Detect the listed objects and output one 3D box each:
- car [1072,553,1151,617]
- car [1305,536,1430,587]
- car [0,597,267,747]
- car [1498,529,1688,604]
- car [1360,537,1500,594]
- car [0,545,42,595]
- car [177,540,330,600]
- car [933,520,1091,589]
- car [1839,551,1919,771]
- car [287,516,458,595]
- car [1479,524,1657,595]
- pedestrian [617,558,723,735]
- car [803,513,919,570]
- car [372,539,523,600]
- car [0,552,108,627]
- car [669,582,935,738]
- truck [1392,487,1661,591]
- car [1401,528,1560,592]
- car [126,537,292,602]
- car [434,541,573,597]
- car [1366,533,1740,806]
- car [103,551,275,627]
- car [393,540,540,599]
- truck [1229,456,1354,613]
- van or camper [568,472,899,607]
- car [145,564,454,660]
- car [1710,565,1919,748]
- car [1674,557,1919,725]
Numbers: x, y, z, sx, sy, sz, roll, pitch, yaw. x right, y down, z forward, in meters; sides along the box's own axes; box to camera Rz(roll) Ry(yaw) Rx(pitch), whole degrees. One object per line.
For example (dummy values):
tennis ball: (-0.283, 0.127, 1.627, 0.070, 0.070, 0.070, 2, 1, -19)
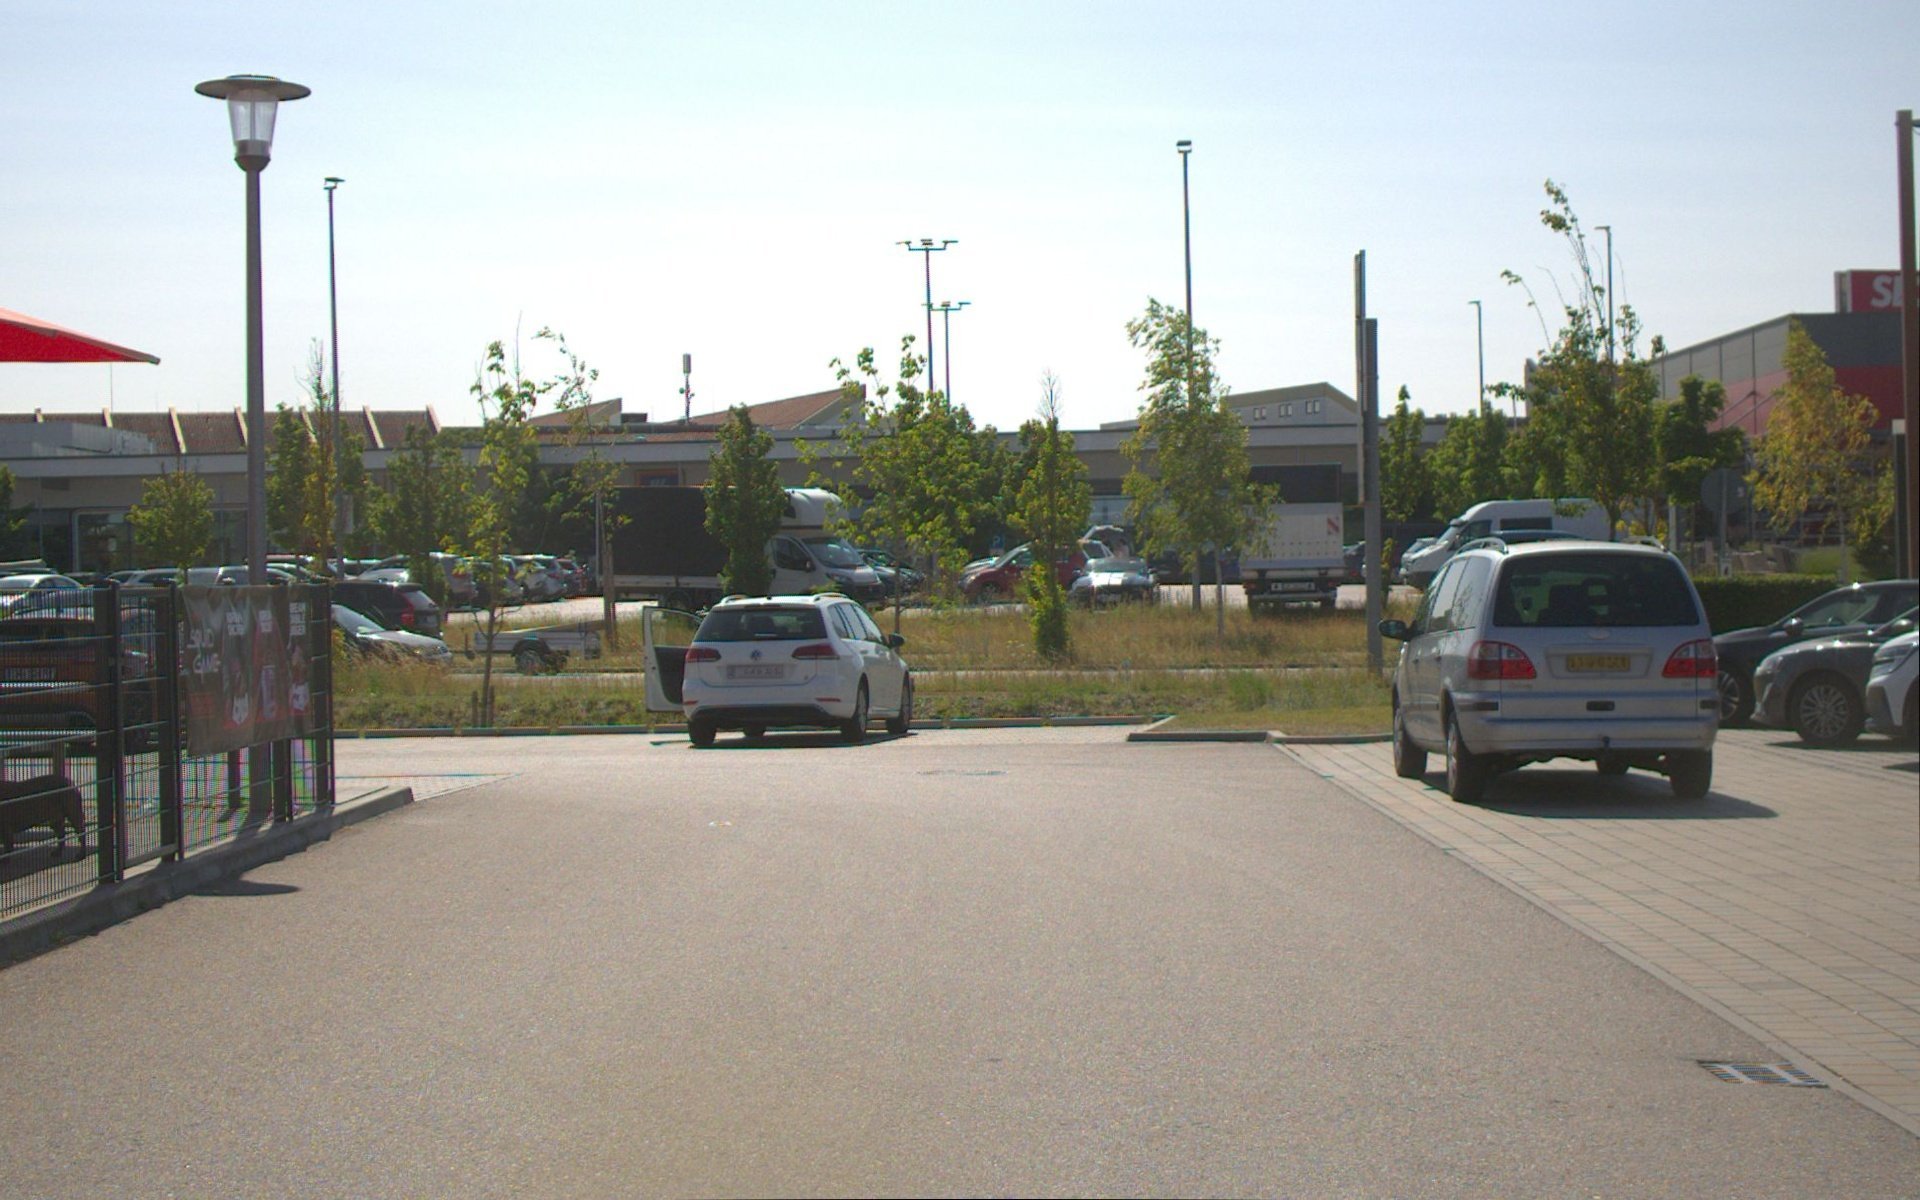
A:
car: (3.568, -0.375, 80.480, 1.650, 1.454, 3.966, 0, 1, 5)
car: (15.092, -1.439, 127.452, 4.390, 1.849, 1.956, 0, 1, 0)
car: (-8.925, 0.738, 36.164, 1.828, 1.464, 4.351, -1, -1, 9)
car: (15.795, -0.836, 85.955, 4.390, 1.849, 1.956, 0, 1, 0)
car: (15.514, -1.155, 113.626, 4.390, 1.849, 1.956, 0, 1, 0)
car: (-36.651, -1.117, 128.025, 4.390, 1.849, 1.956, 0, 1, 0)
car: (-22.139, -0.941, 107.894, 4.390, 1.849, 1.956, 0, 1, 0)
car: (1.404, -1.240, 93.526, 4.253, 1.849, 1.870, 0, 1, 0)
car: (8.967, 0.449, 25.848, 4.200, 1.649, 1.972, 0, 1, 30)
car: (-14.116, -1.080, 82.838, 1.952, 1.849, 4.399, 0, 1, 24)
car: (16.124, -1.078, 91.312, 4.390, 1.849, 1.956, 0, 1, 0)
pedestrian: (-3.001, 0.476, 35.612, 0.991, 1.803, 0.726, -1, -1, 2)
car: (-3.537, -2.102, 123.350, 3.987, 2.007, 2.000, 0, 1, 3)
car: (-15.915, -0.955, 106.945, 4.390, 1.849, 1.956, 0, 1, 0)
car: (-23.762, -0.292, 87.133, 1.996, 1.849, 4.281, 0, 1, 24)
car: (-1.528, 0.590, 34.951, 1.828, 1.464, 4.480, -1, -1, 9)
truck: (15.481, -1.660, 94.128, 7.035, 2.805, 1.956, 0, 1, 0)
car: (15.303, -1.191, 101.297, 4.390, 1.849, 1.956, 0, 1, 0)
car: (-21.766, -0.901, 99.739, 4.390, 1.849, 1.956, 0, 1, 0)
car: (-15.296, -1.054, 115.367, 4.390, 1.849, 1.956, 0, 1, 0)
car: (4.117, 0.433, 24.612, 1.827, 1.742, 4.683, -1, 0, 0)
car: (-19.222, -0.290, 85.915, 1.952, 1.849, 4.399, 0, 1, 24)
car: (-15.687, -0.984, 109.403, 4.390, 1.849, 1.956, 0, 1, 0)
truck: (7.701, -1.484, 79.769, 2.760, 3.469, 6.831, 0, 1, 6)
van or camper: (-5.451, -1.408, 81.739, 8.044, 3.091, 2.415, 0, 1, 34)
car: (-12.034, 0.208, 62.807, 5.207, 1.725, 1.989, 0, 1, 4)
car: (8.773, 0.460, 29.324, 4.202, 1.521, 1.971, 0, 1, 37)
car: (9.162, 0.361, 32.552, 4.330, 1.521, 1.970, 0, 2, 45)
